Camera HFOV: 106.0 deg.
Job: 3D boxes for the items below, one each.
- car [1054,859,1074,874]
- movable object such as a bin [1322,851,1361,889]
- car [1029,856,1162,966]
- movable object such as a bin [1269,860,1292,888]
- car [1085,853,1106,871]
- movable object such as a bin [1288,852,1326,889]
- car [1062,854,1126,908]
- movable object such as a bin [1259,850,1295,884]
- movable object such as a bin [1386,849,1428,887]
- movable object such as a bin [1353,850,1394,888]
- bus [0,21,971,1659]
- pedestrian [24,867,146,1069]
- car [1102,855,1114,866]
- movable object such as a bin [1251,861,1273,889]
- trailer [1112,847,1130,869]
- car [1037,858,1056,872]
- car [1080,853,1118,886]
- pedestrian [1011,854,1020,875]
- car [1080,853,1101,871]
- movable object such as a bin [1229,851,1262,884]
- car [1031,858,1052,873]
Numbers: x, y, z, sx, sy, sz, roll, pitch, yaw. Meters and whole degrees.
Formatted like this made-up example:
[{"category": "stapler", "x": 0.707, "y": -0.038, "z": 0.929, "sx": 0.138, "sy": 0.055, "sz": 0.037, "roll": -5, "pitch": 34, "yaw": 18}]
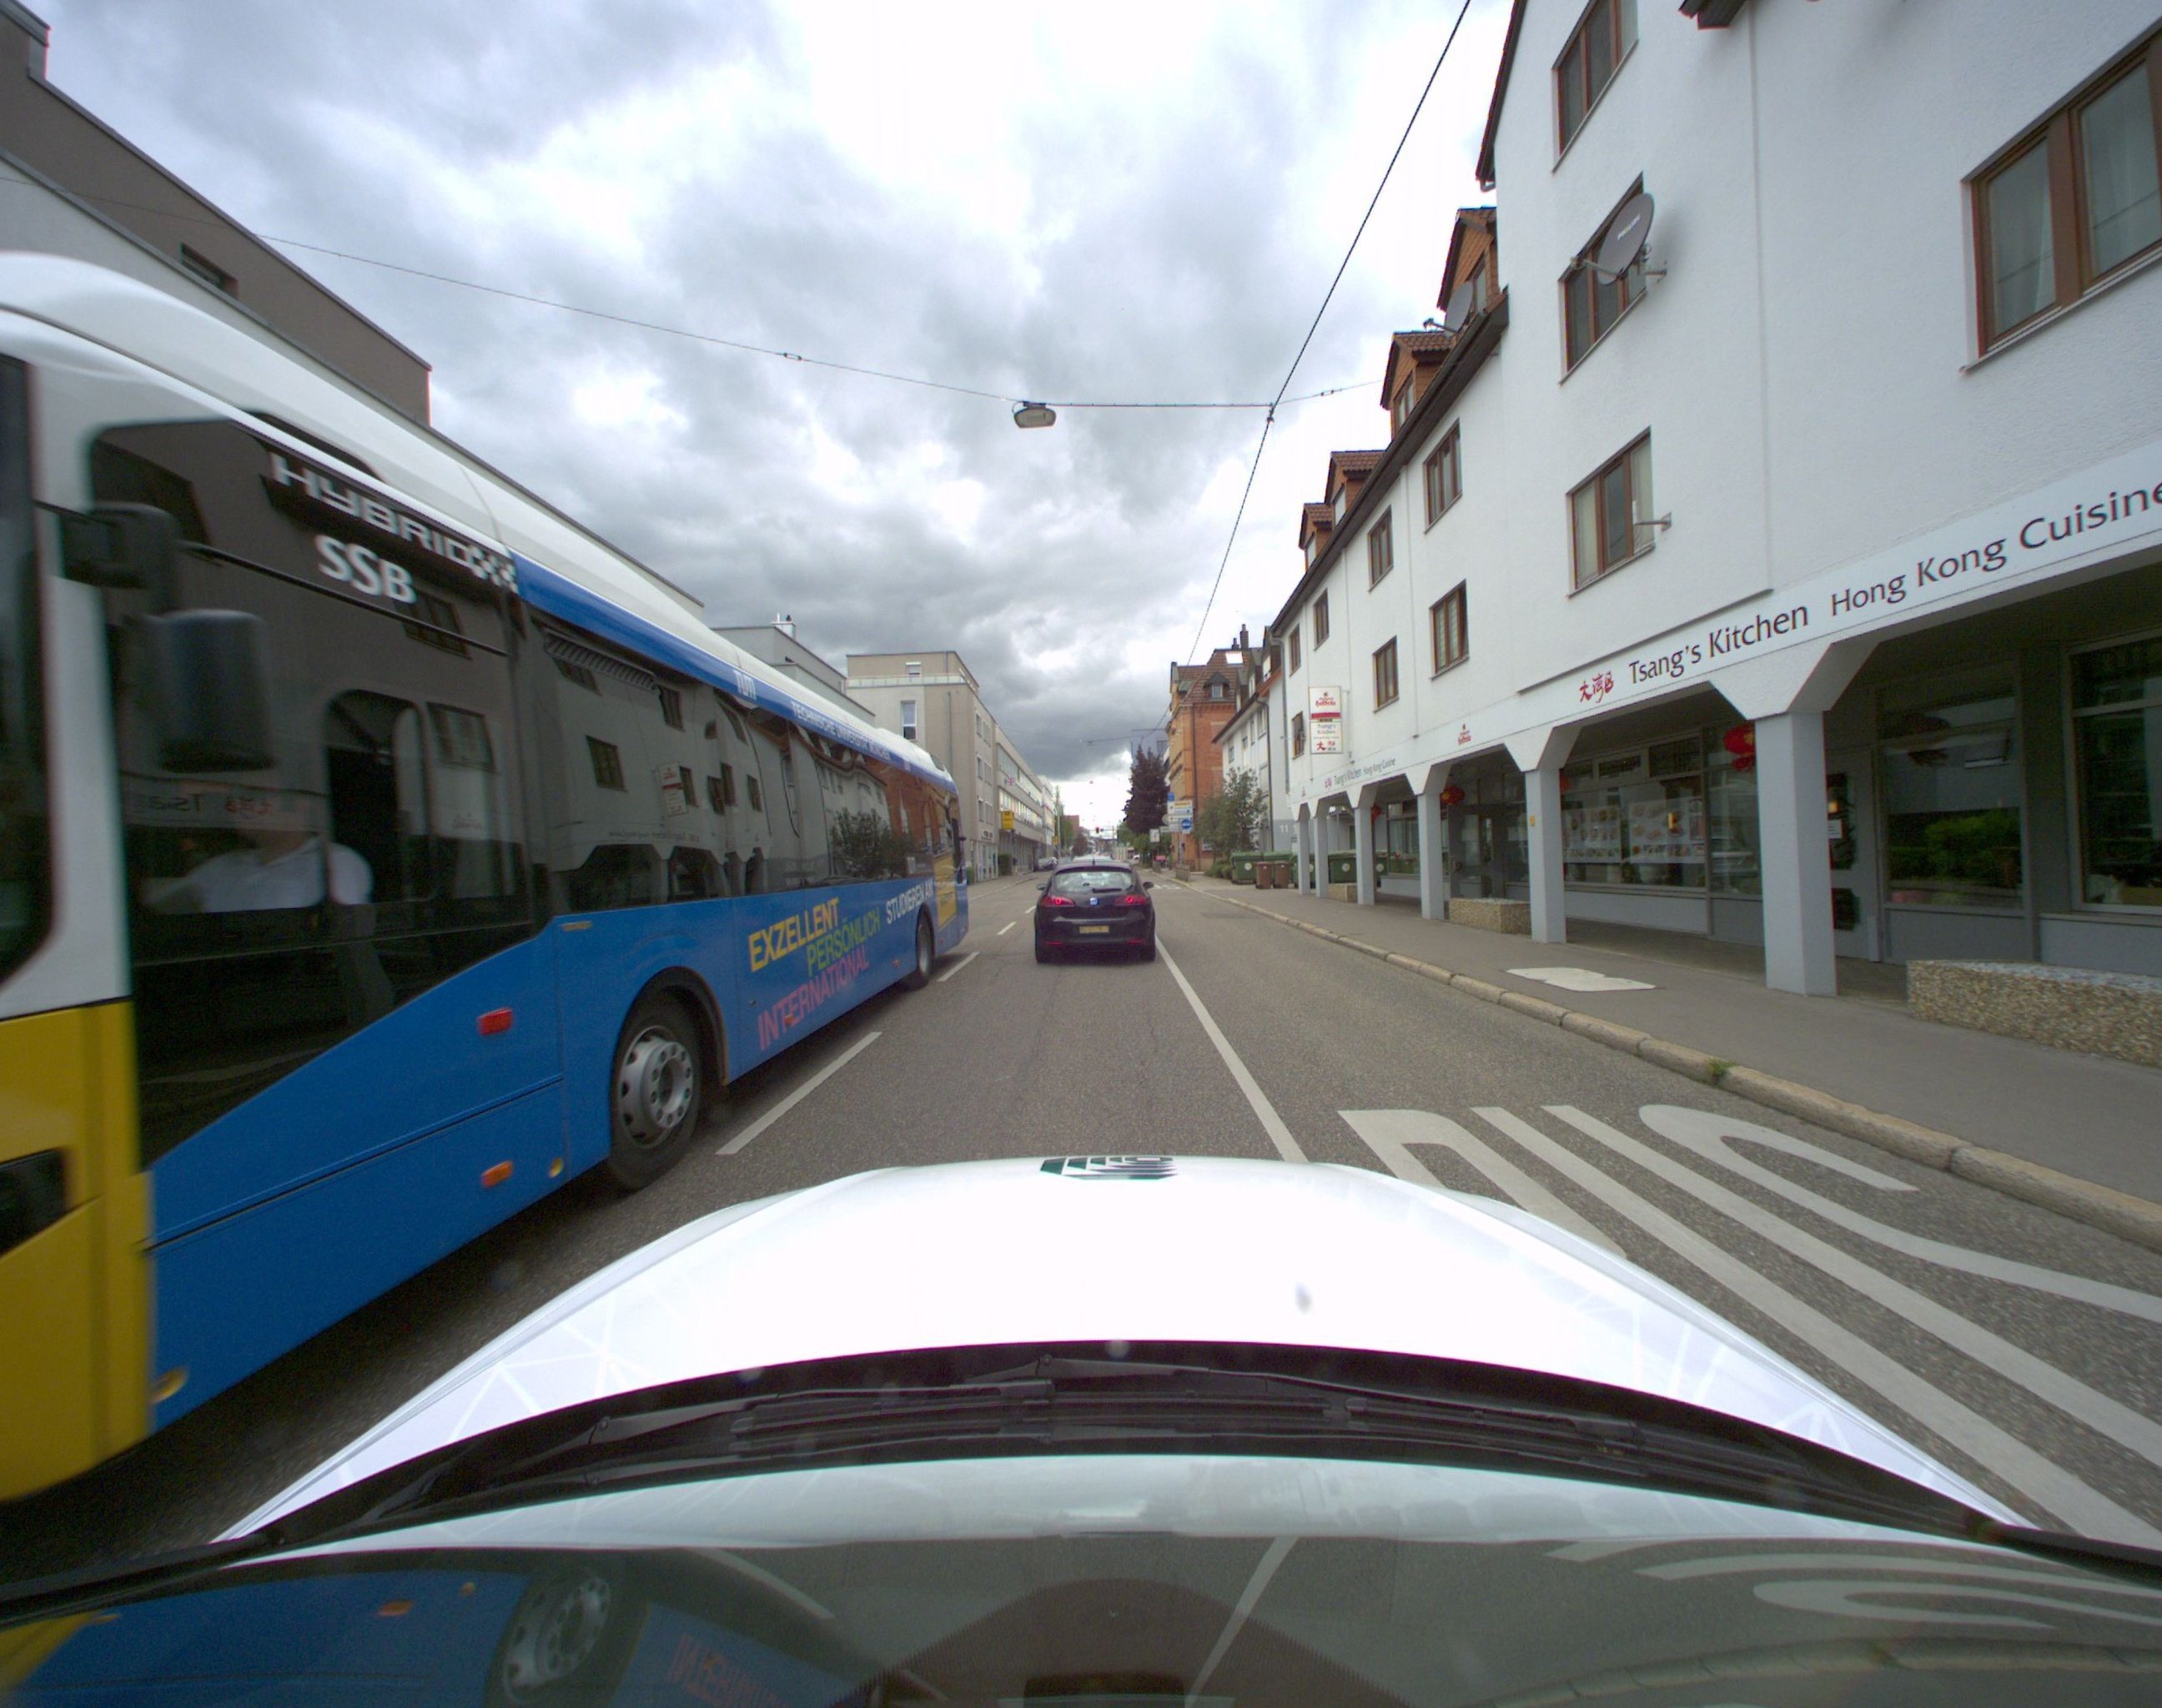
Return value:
[{"category": "car", "x": -1.793, "y": 1.294, "z": 86.900, "sx": 1.872, "sy": 1.451, "sz": 4.214, "roll": -4, "pitch": 0, "yaw": 1}, {"category": "movable object such as a bin", "x": 10.224, "y": 0.607, "z": 32.024, "sx": 1.204, "sy": 1.417, "sz": 1.261, "roll": -2, "pitch": 0, "yaw": 5}, {"category": "car", "x": 0.242, "y": 0.768, "z": 12.908, "sx": 1.759, "sy": 1.433, "sz": 3.829, "roll": -2, "pitch": 0, "yaw": 1}, {"category": "movable object such as a bin", "x": 7.933, "y": 0.782, "z": 32.425, "sx": 0.695, "sy": 1.079, "sz": 0.973, "roll": -2, "pitch": 0, "yaw": 5}, {"category": "car", "x": 1.297, "y": 0.726, "z": 74.097, "sx": 1.797, "sy": 1.601, "sz": 3.738, "roll": -1, "pitch": 0, "yaw": 1}, {"category": "movable object such as a bin", "x": 8.867, "y": 0.645, "z": 32.062, "sx": 1.204, "sy": 1.417, "sz": 1.261, "roll": -2, "pitch": 0, "yaw": 5}, {"category": "car", "x": 0.407, "y": 0.792, "z": 25.353, "sx": 1.797, "sy": 1.492, "sz": 3.738, "roll": -2, "pitch": 0, "yaw": 1}, {"category": "movable object such as a bin", "x": 8.676, "y": 0.552, "z": 36.086, "sx": 1.262, "sy": 1.435, "sz": 1.308, "roll": -2, "pitch": 0, "yaw": 1}, {"category": "movable object such as a bin", "x": 12.749, "y": 0.544, "z": 31.884, "sx": 1.204, "sy": 1.417, "sz": 1.261, "roll": -2, "pitch": 0, "yaw": 5}, {"category": "movable object such as a bin", "x": 11.475, "y": 0.576, "z": 31.970, "sx": 1.204, "sy": 1.417, "sz": 1.261, "roll": -2, "pitch": 0, "yaw": 5}, {"category": "bus", "x": -3.496, "y": -0.015, "z": 7.510, "sx": 2.932, "sy": 3.274, "sz": 12.010, "roll": -3, "pitch": 0, "yaw": 1}, {"category": "pedestrian", "x": -8.679, "y": 0.950, "z": 7.120, "sx": 0.513, "sy": 1.642, "sz": 0.644, "roll": -2, "pitch": -1, "yaw": 41}, {"category": "car", "x": 4.116, "y": 1.013, "z": 125.654, "sx": 1.797, "sy": 1.601, "sz": 3.738, "roll": -1, "pitch": 0, "yaw": 1}, {"category": "movable object such as a bin", "x": 7.208, "y": 0.814, "z": 32.463, "sx": 0.680, "sy": 1.067, "sz": 0.973, "roll": -2, "pitch": 0, "yaw": 5}, {"category": "trailer", "x": 4.932, "y": 0.484, "z": 100.780, "sx": 1.987, "sy": 2.607, "sz": 5.349, "roll": -2, "pitch": 0, "yaw": 1}, {"category": "car", "x": -3.972, "y": 1.260, "z": 94.899, "sx": 1.987, "sy": 1.517, "sz": 4.175, "roll": -2, "pitch": 0, "yaw": 1}, {"category": "car", "x": 0.883, "y": 0.744, "z": 41.100, "sx": 1.797, "sy": 1.553, "sz": 3.738, "roll": -2, "pitch": 0, "yaw": 1}, {"category": "pedestrian", "x": -5.573, "y": 0.907, "z": 69.073, "sx": 0.641, "sy": 1.769, "sz": 0.809, "roll": -1, "pitch": 0, "yaw": -2}, {"category": "car", "x": 0.872, "y": 0.728, "z": 73.911, "sx": 1.797, "sy": 1.553, "sz": 3.738, "roll": -2, "pitch": 0, "yaw": 1}, {"category": "movable object such as a bin", "x": 7.336, "y": 0.610, "z": 36.386, "sx": 1.262, "sy": 1.417, "sz": 1.162, "roll": -2, "pitch": 0, "yaw": 1}, {"category": "car", "x": -4.285, "y": 1.195, "z": 89.057, "sx": 1.906, "sy": 1.517, "sz": 4.175, "roll": -3, "pitch": 0, "yaw": 1}]
